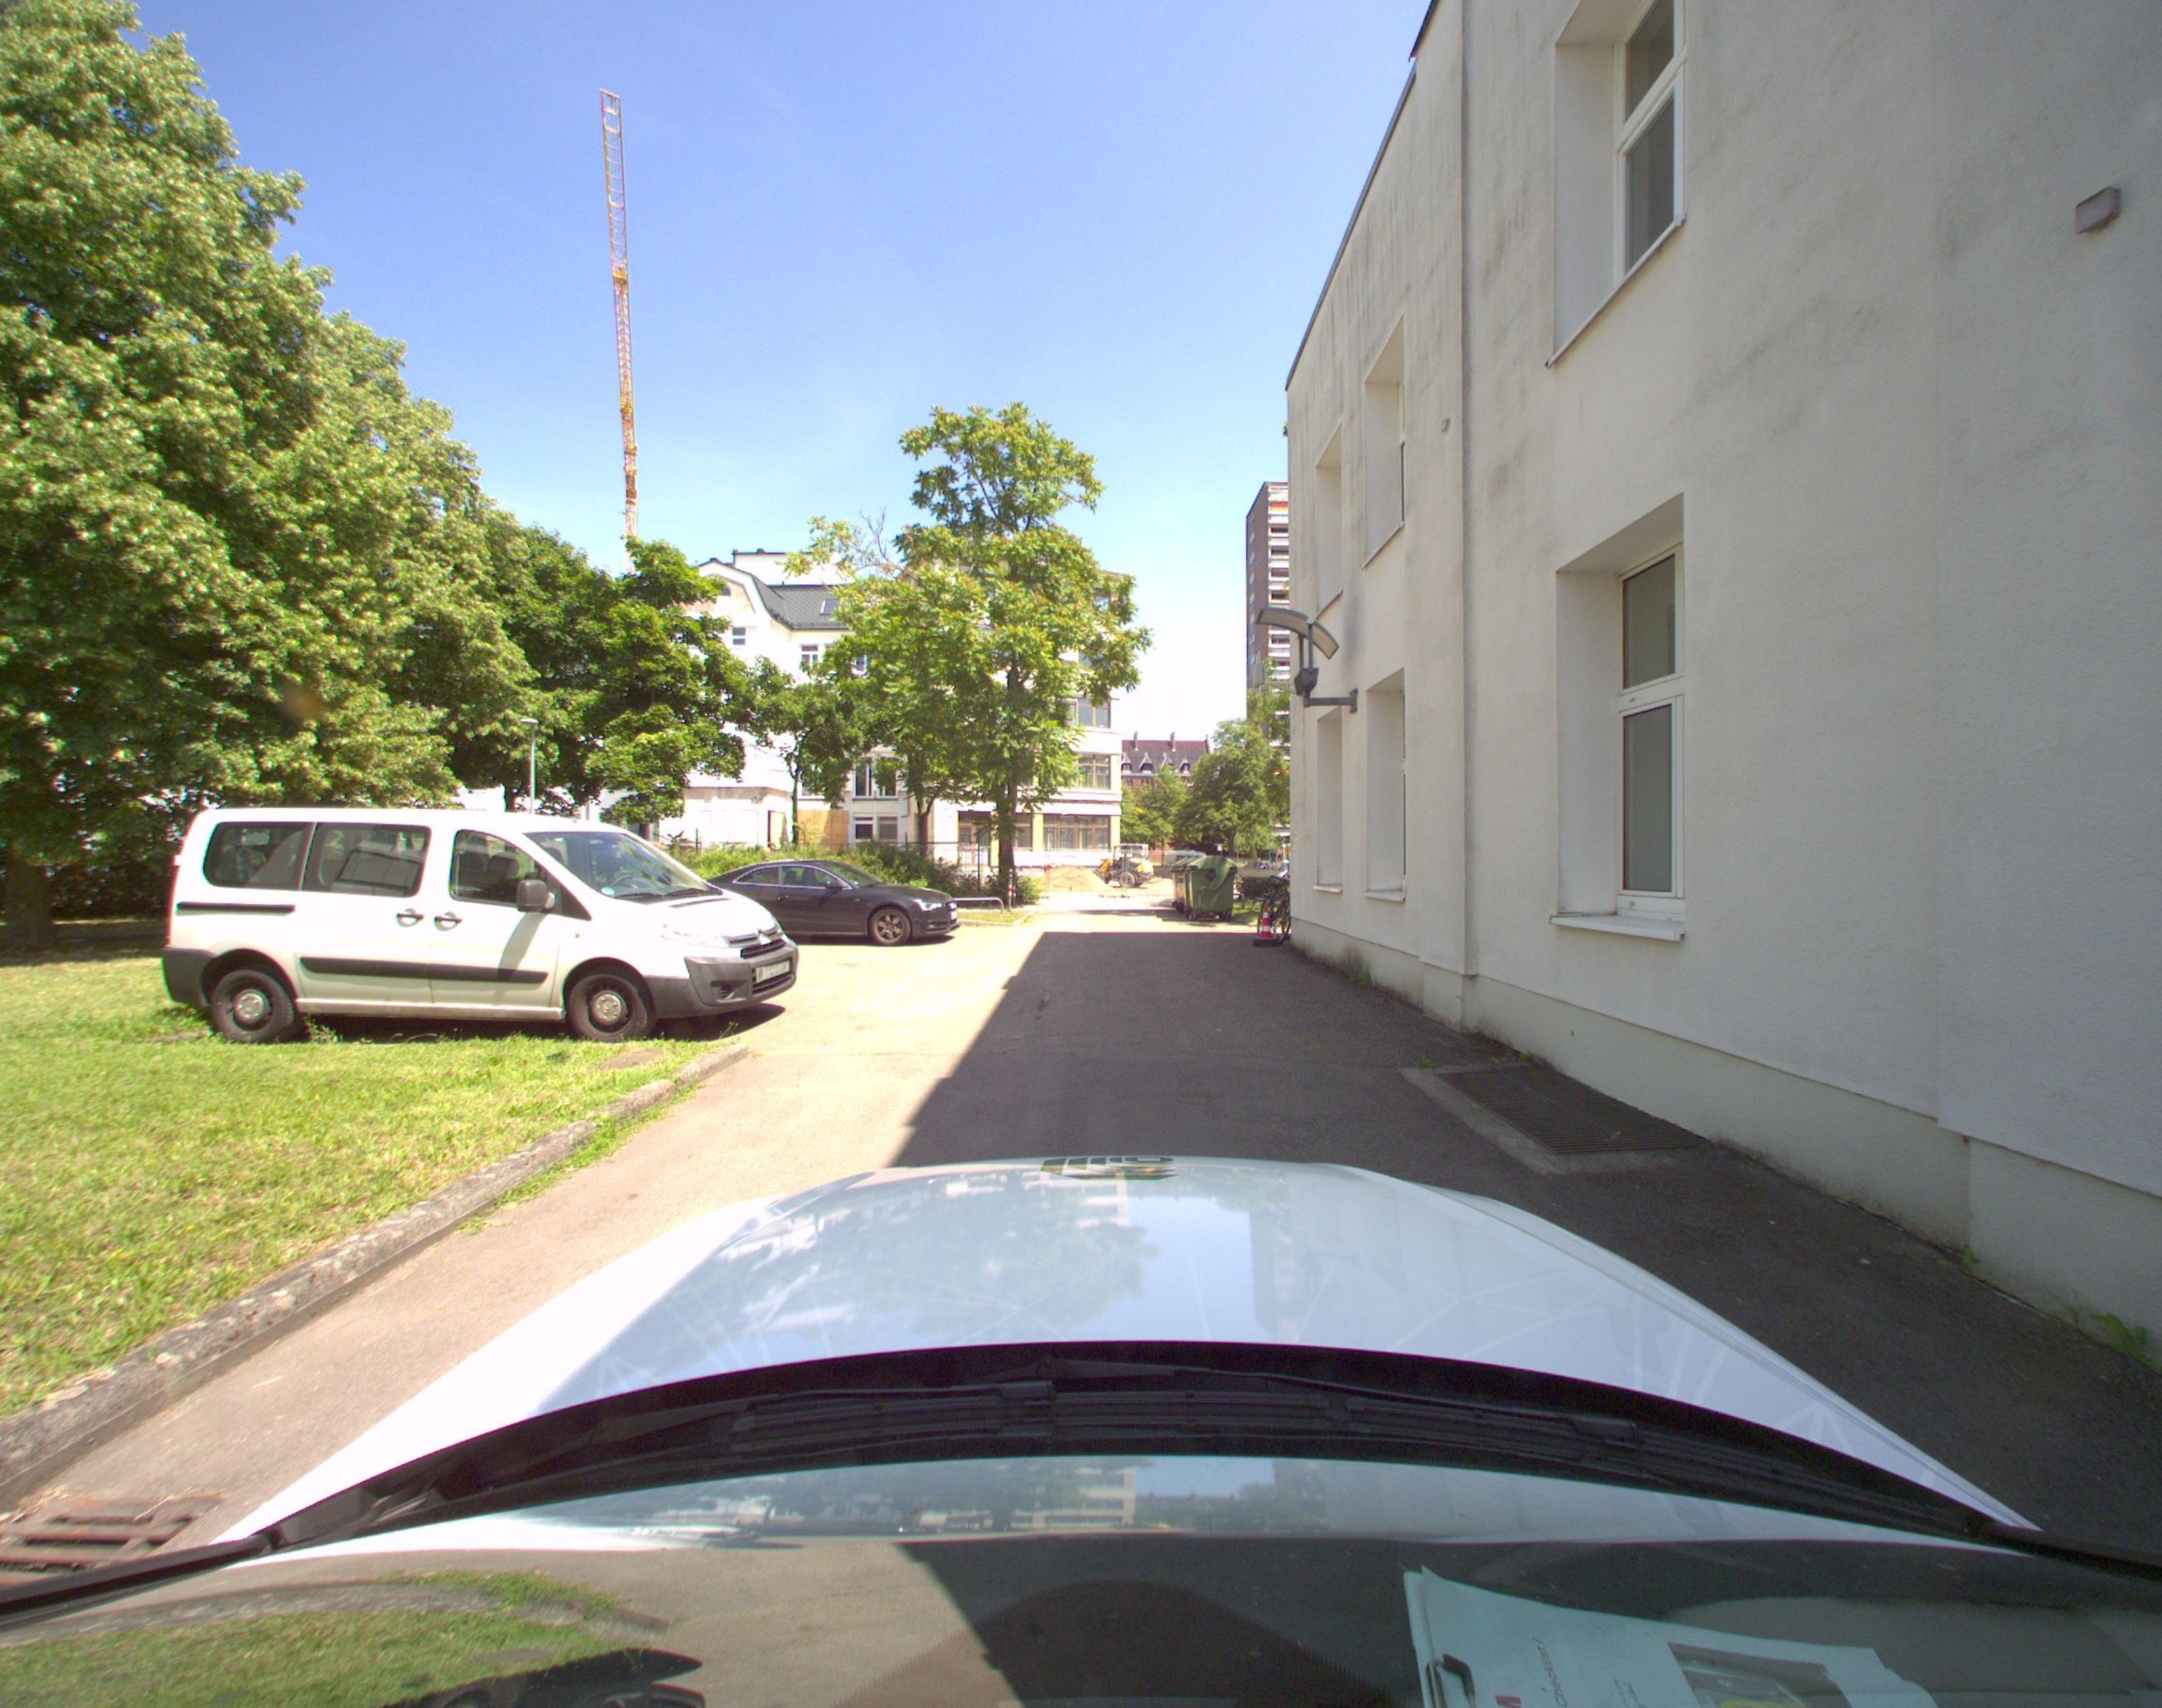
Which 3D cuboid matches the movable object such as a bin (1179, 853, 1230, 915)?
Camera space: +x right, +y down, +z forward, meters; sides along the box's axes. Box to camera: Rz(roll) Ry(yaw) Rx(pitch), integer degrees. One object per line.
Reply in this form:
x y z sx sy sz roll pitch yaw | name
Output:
2.979 0.722 19.789 1.071 1.458 1.378 0 -1 2 | movable object such as a bin

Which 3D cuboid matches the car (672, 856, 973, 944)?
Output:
-4.239 0.752 13.884 4.410 1.380 2.025 0 -1 3 | car

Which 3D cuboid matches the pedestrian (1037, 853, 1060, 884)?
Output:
-1.913 0.857 48.009 0.973 1.847 0.923 -1 -1 30 | pedestrian

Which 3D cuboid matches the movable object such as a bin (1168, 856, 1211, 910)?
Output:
3.011 0.784 22.683 1.071 1.458 1.378 0 -1 2 | movable object such as a bin

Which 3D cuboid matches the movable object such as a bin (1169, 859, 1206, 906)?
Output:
3.400 0.913 26.184 1.071 1.458 1.378 0 -1 2 | movable object such as a bin

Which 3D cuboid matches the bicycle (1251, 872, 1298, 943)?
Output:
3.228 0.863 13.711 0.403 1.102 1.827 0 -1 2 | bicycle

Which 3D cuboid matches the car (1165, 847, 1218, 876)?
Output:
9.601 0.670 71.367 2.005 2.416 5.196 0 -1 -27 | car

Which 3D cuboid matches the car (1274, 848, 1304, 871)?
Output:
21.264 0.557 83.161 2.165 2.258 4.895 -1 -1 23 | car

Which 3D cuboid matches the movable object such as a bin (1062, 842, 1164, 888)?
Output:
1.847 0.602 47.324 5.352 2.464 2.382 1 0 30 | movable object such as a bin

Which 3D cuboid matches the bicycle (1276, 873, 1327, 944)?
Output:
3.696 0.884 13.757 0.403 1.102 1.827 0 -1 2 | bicycle

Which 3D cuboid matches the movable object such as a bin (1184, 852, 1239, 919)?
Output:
2.916 0.699 18.347 1.071 1.458 1.378 0 -1 2 | movable object such as a bin

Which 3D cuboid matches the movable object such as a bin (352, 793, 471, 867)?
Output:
-40.373 -1.403 49.157 5.678 4.372 2.002 0 -1 4 | movable object such as a bin

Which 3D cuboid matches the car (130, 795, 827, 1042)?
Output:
-5.070 0.518 7.394 4.827 1.883 2.069 0 -1 3 | car

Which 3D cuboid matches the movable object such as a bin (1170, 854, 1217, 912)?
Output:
2.913 0.746 21.263 1.071 1.458 1.378 0 -1 2 | movable object such as a bin
